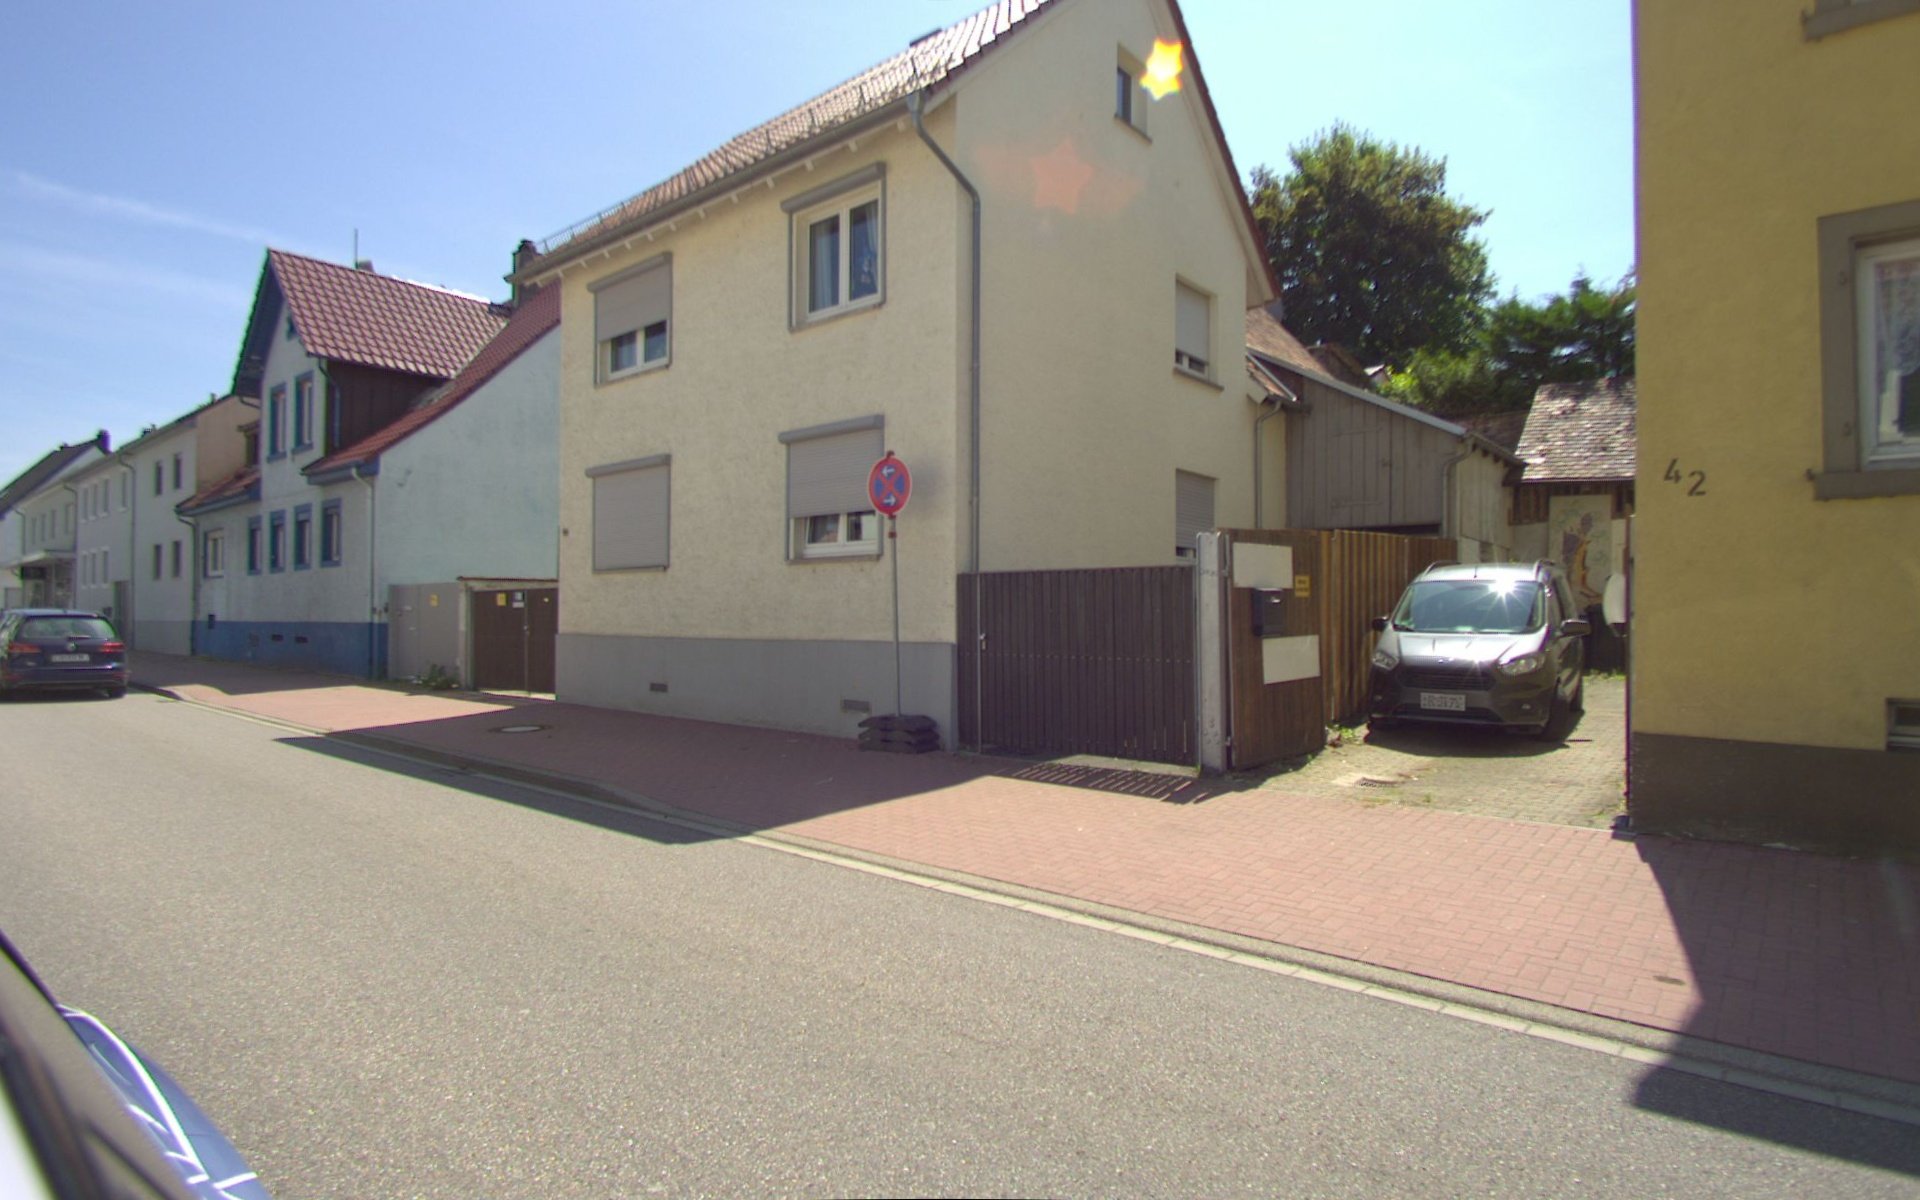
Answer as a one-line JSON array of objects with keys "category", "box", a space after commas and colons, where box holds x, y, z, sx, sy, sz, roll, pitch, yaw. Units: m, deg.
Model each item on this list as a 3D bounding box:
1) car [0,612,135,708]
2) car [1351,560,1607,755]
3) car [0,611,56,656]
[{"category": "car", "box": [-16.506, 1.017, 18.271, 4.075, 1.548, 1.747, -1, -3, 40]}, {"category": "car", "box": [5.769, 0.458, 10.997, 1.815, 1.688, 3.951, -1, 1, 37]}, {"category": "car", "box": [-35.587, 1.216, 38.065, 4.563, 1.569, 1.789, -1, 1, 41]}]
